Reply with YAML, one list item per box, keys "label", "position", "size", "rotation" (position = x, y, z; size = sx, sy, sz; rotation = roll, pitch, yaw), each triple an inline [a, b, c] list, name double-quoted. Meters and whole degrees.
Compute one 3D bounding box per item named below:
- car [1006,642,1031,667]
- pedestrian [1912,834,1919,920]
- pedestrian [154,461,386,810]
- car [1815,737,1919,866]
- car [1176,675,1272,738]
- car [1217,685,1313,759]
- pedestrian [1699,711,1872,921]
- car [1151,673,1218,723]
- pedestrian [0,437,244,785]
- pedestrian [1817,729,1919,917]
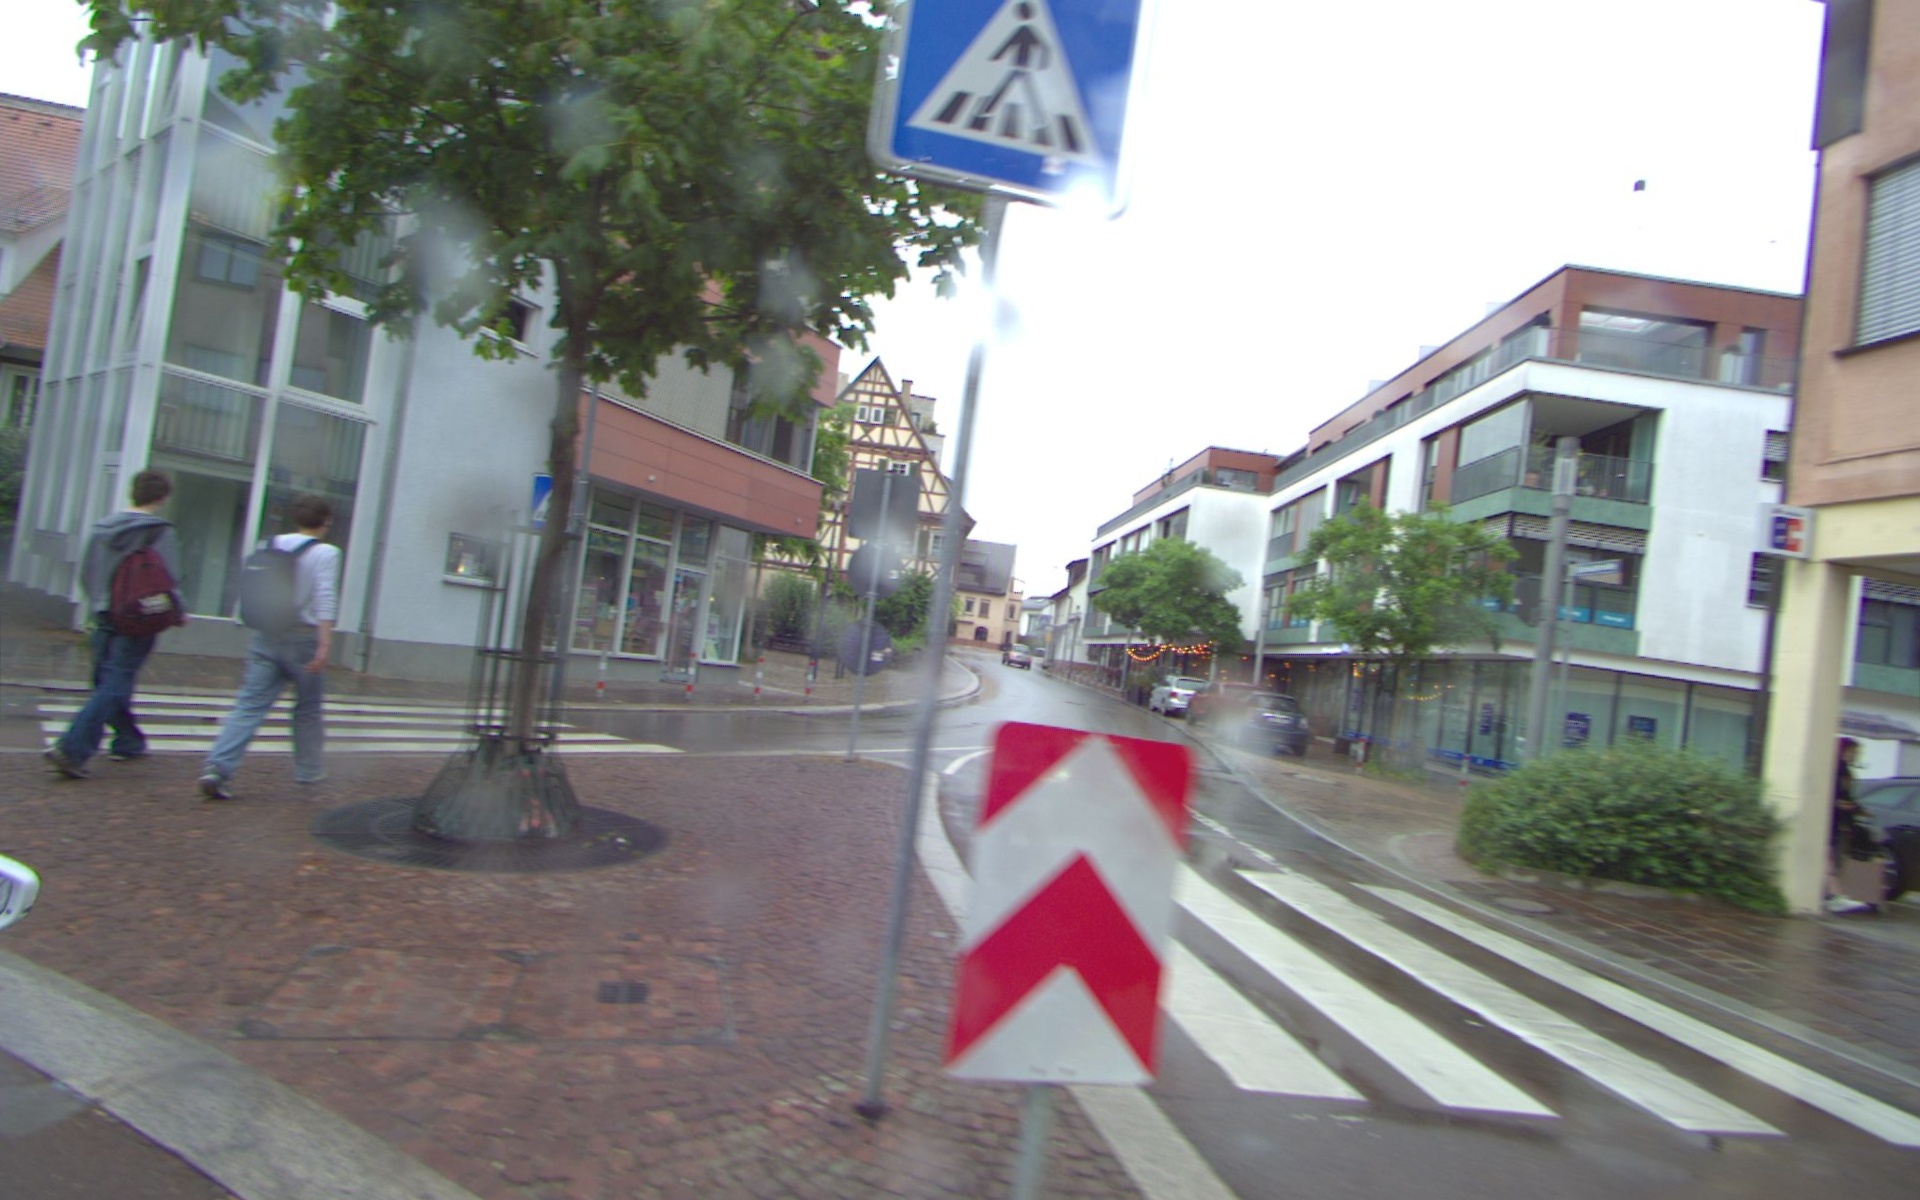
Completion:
- label: "car"
  position: [4.040, 3.782, 69.490]
  size: [1.498, 1.487, 3.345]
  rotation: [7, -2, 3]
- label: "pedestrian"
  position: [9.290, 2.132, 9.030]
  size: [0.624, 1.708, 0.742]
  rotation: [7, -2, -6]
- label: "pedestrian"
  position: [-4.019, 0.213, 5.967]
  size: [0.656, 1.827, 1.057]
  rotation: [8, -2, -18]
- label: "car"
  position: [11.421, 2.314, 9.924]
  size: [1.738, 1.290, 4.470]
  rotation: [8, -3, -7]
- label: "car"
  position: [8.015, 3.208, 30.851]
  size: [1.599, 1.518, 4.001]
  rotation: [5, -2, -3]
- label: "car"
  position: [7.704, 3.040, 25.673]
  size: [1.512, 1.378, 3.374]
  rotation: [6, 0, 4]
- label: "pedestrian"
  position: [7.817, 2.013, 9.567]
  size: [0.723, 1.768, 0.892]
  rotation: [7, -2, -8]
- label: "car"
  position: [8.069, 3.508, 36.492]
  size: [1.590, 1.430, 4.004]
  rotation: [5, -2, 3]
- label: "pedestrian"
  position: [-5.014, 0.081, 5.993]
  size: [0.684, 1.821, 1.056]
  rotation: [7, -2, -15]
- label: "pedestrian"
  position: [8.906, 2.151, 9.787]
  size: [0.533, 1.682, 0.520]
  rotation: [7, -2, -8]
